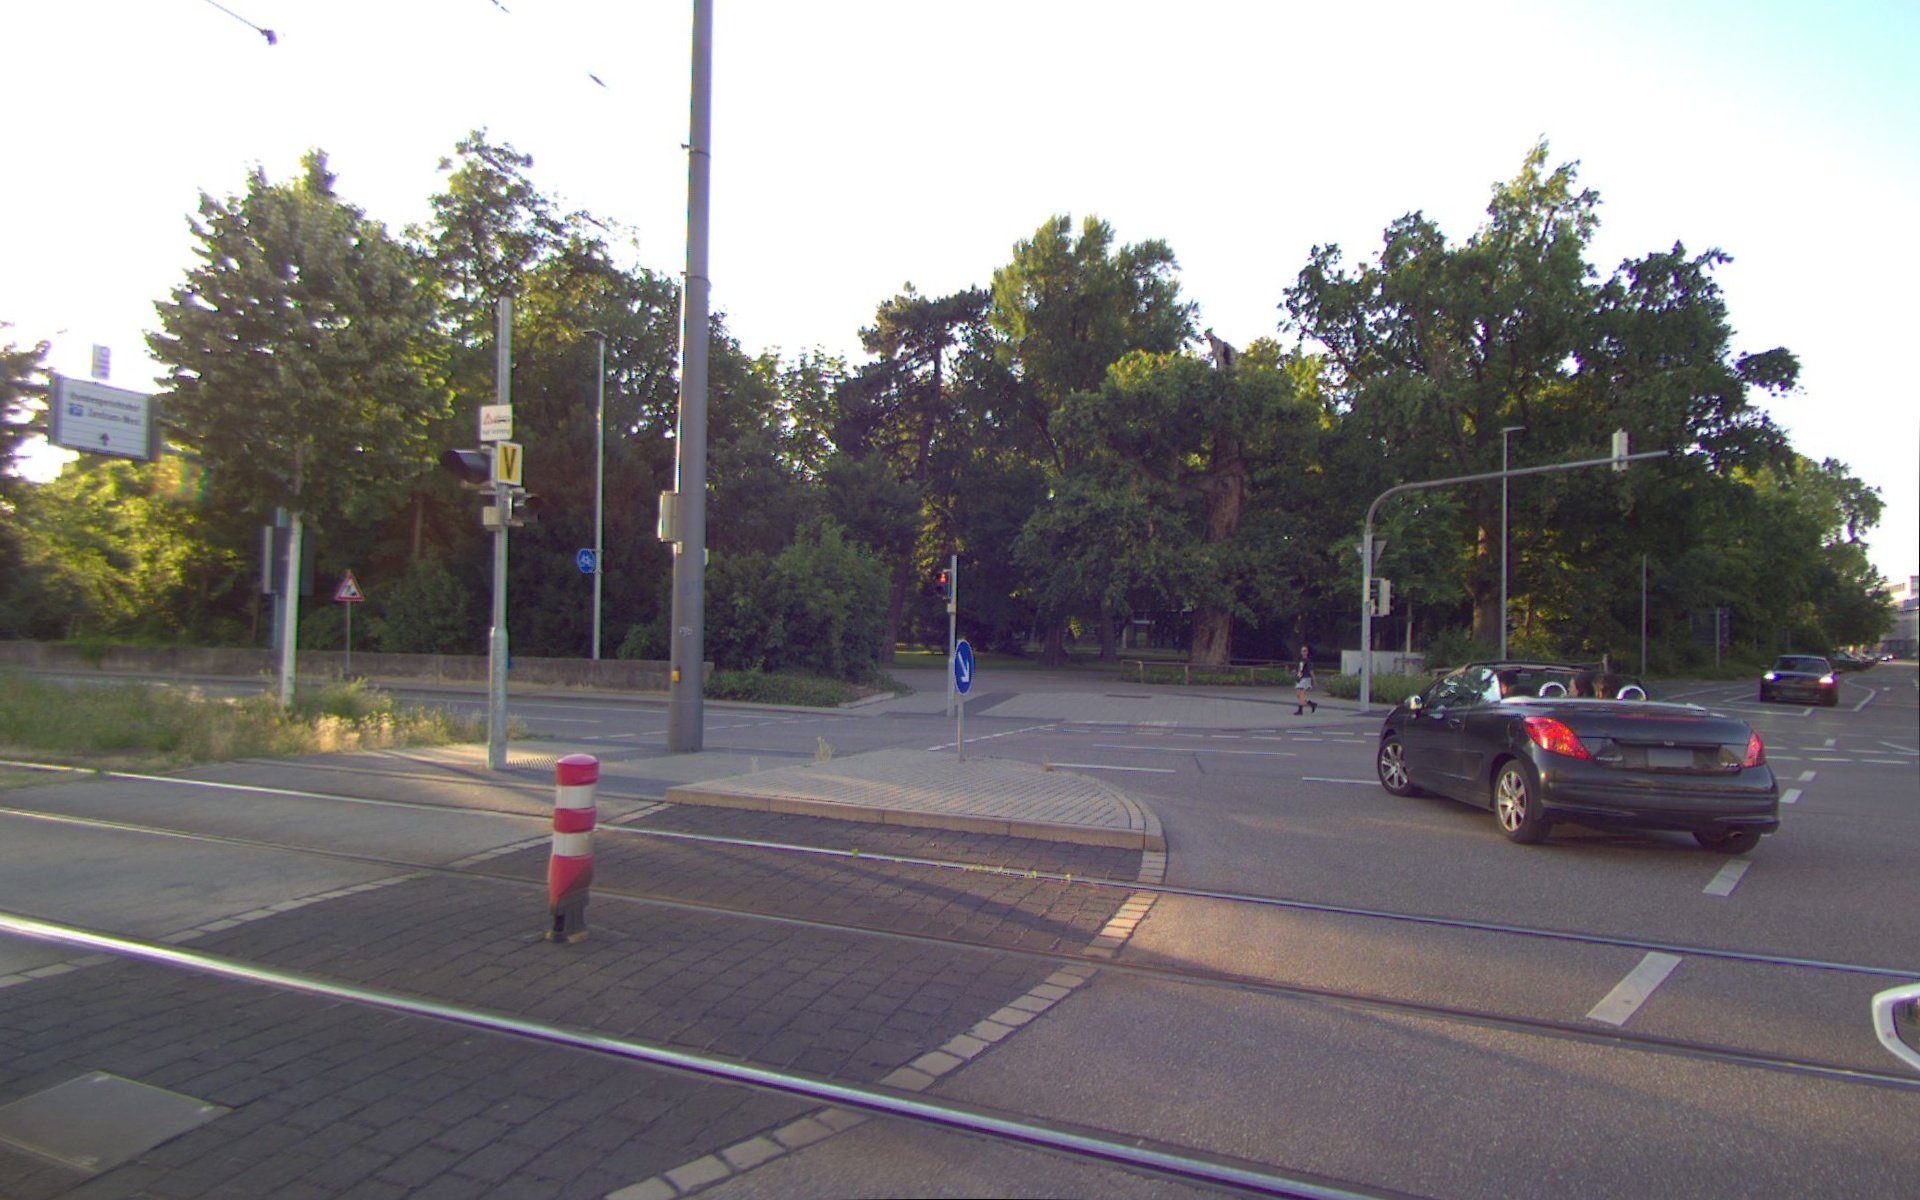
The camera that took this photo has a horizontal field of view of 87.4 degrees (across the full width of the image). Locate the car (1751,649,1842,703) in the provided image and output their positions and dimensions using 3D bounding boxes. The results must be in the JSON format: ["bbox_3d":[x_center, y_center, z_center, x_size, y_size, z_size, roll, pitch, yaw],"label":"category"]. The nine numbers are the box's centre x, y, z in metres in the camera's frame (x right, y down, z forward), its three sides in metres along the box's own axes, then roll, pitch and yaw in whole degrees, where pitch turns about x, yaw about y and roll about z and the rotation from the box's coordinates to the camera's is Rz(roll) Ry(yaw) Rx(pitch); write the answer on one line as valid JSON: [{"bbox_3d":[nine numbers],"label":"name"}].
[{"bbox_3d":[25.680,2.281,30.806,3.553,1.536,1.806,3,-3,-44],"label":"car"}]

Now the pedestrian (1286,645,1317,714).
[{"bbox_3d":[7.711,1.781,22.687,0.607,1.523,0.580,0,-2,24],"label":"pedestrian"}]

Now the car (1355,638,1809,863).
[{"bbox_3d":[4.940,1.078,8.704,1.690,1.468,3.903,1,-2,3],"label":"car"}]
